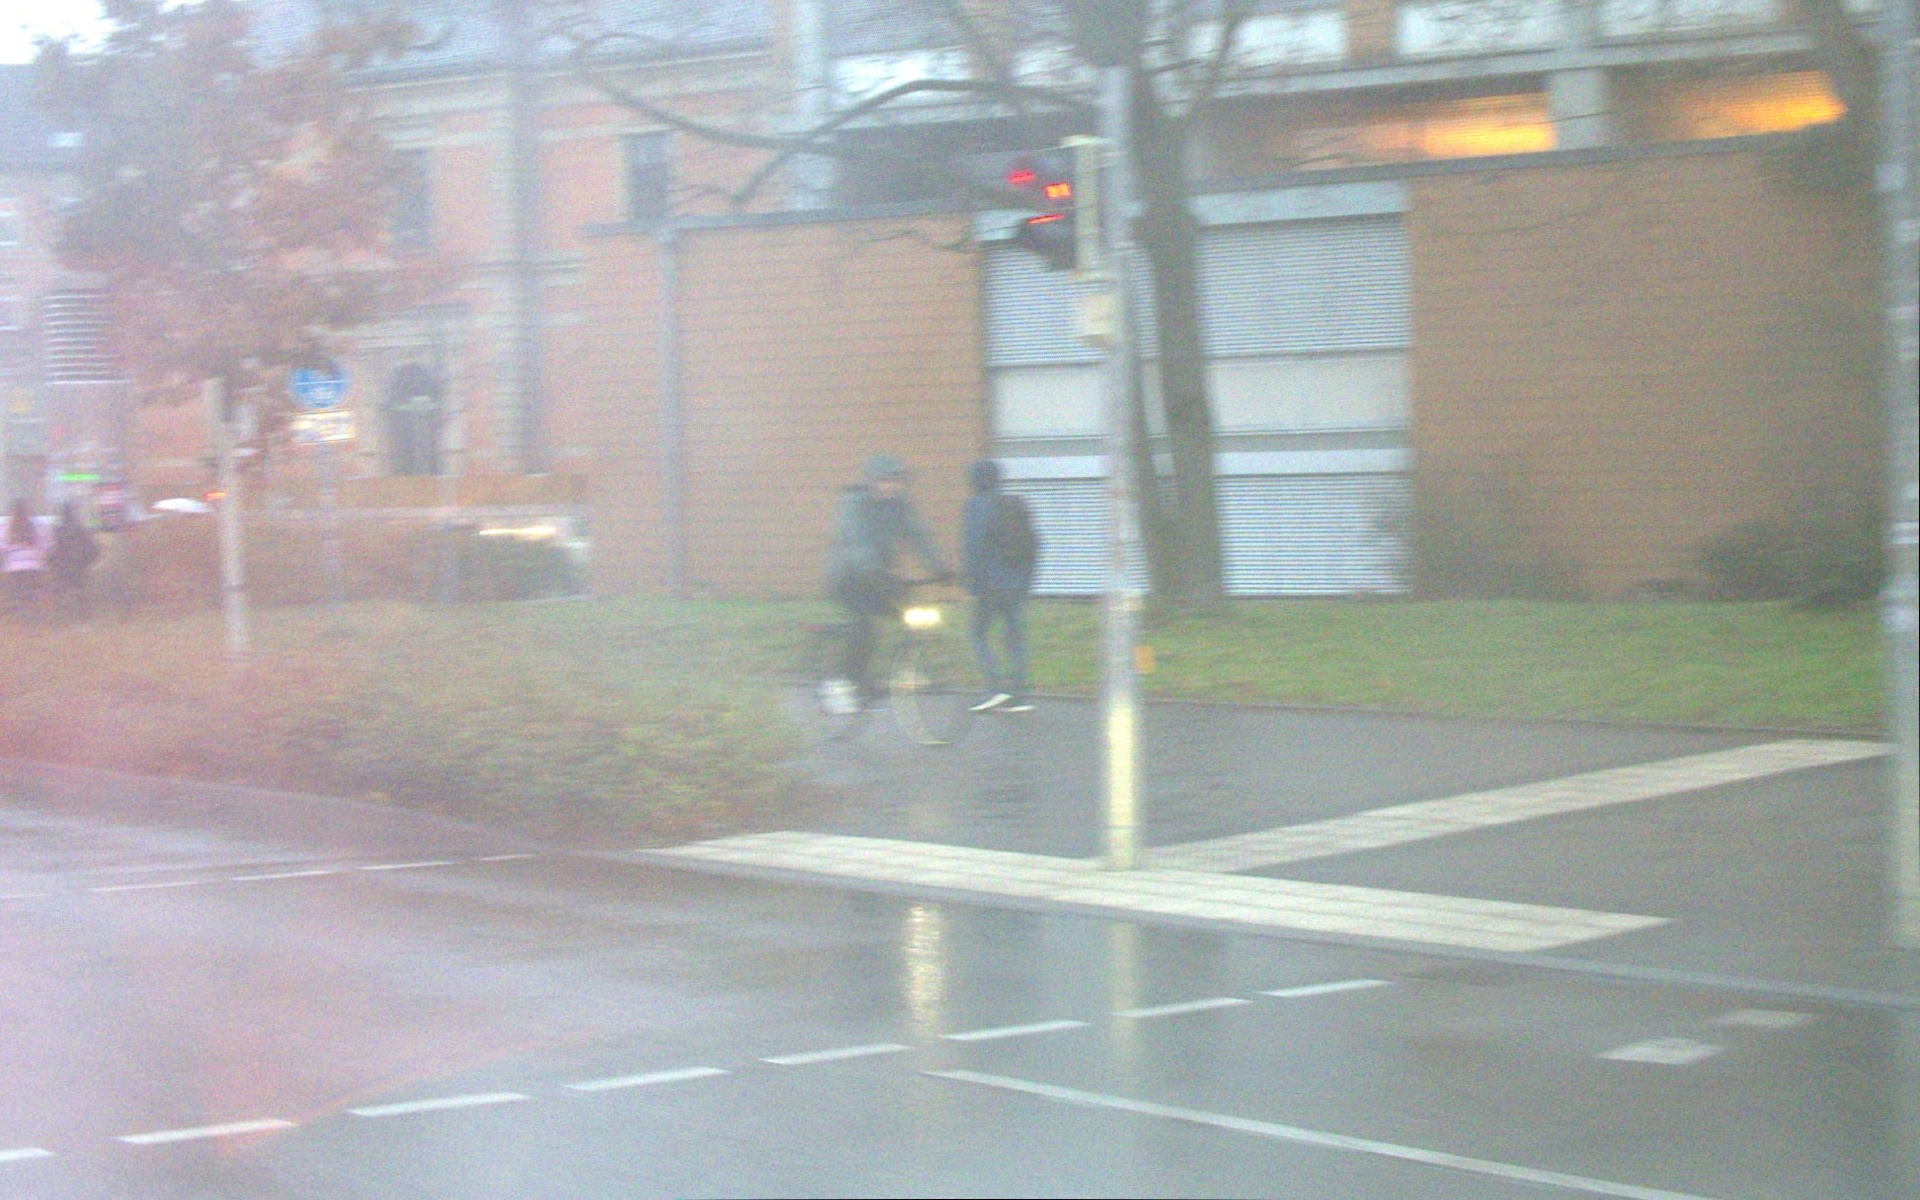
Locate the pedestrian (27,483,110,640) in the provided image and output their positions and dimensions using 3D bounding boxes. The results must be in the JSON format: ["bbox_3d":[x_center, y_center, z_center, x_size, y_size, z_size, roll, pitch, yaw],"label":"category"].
[{"bbox_3d":[-9.728,-0.427,37.549,0.718,1.682,0.760,-2,2,-6],"label":"pedestrian"}]

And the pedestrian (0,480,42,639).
[{"bbox_3d":[-10.365,-0.437,37.160,0.667,1.681,0.612,-3,4,-5],"label":"pedestrian"}]

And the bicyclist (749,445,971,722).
[{"bbox_3d":[-0.624,-0.120,21.278,0.804,1.612,1.085,-6,5,-36],"label":"bicyclist"}]

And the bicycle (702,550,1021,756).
[{"bbox_3d":[-0.644,0.297,21.373,0.804,1.137,2.213,-6,5,-36],"label":"bicycle"}]

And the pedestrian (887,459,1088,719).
[{"bbox_3d":[0.182,-0.087,23.277,0.807,1.682,1.070,-4,3,-36],"label":"pedestrian"}]
